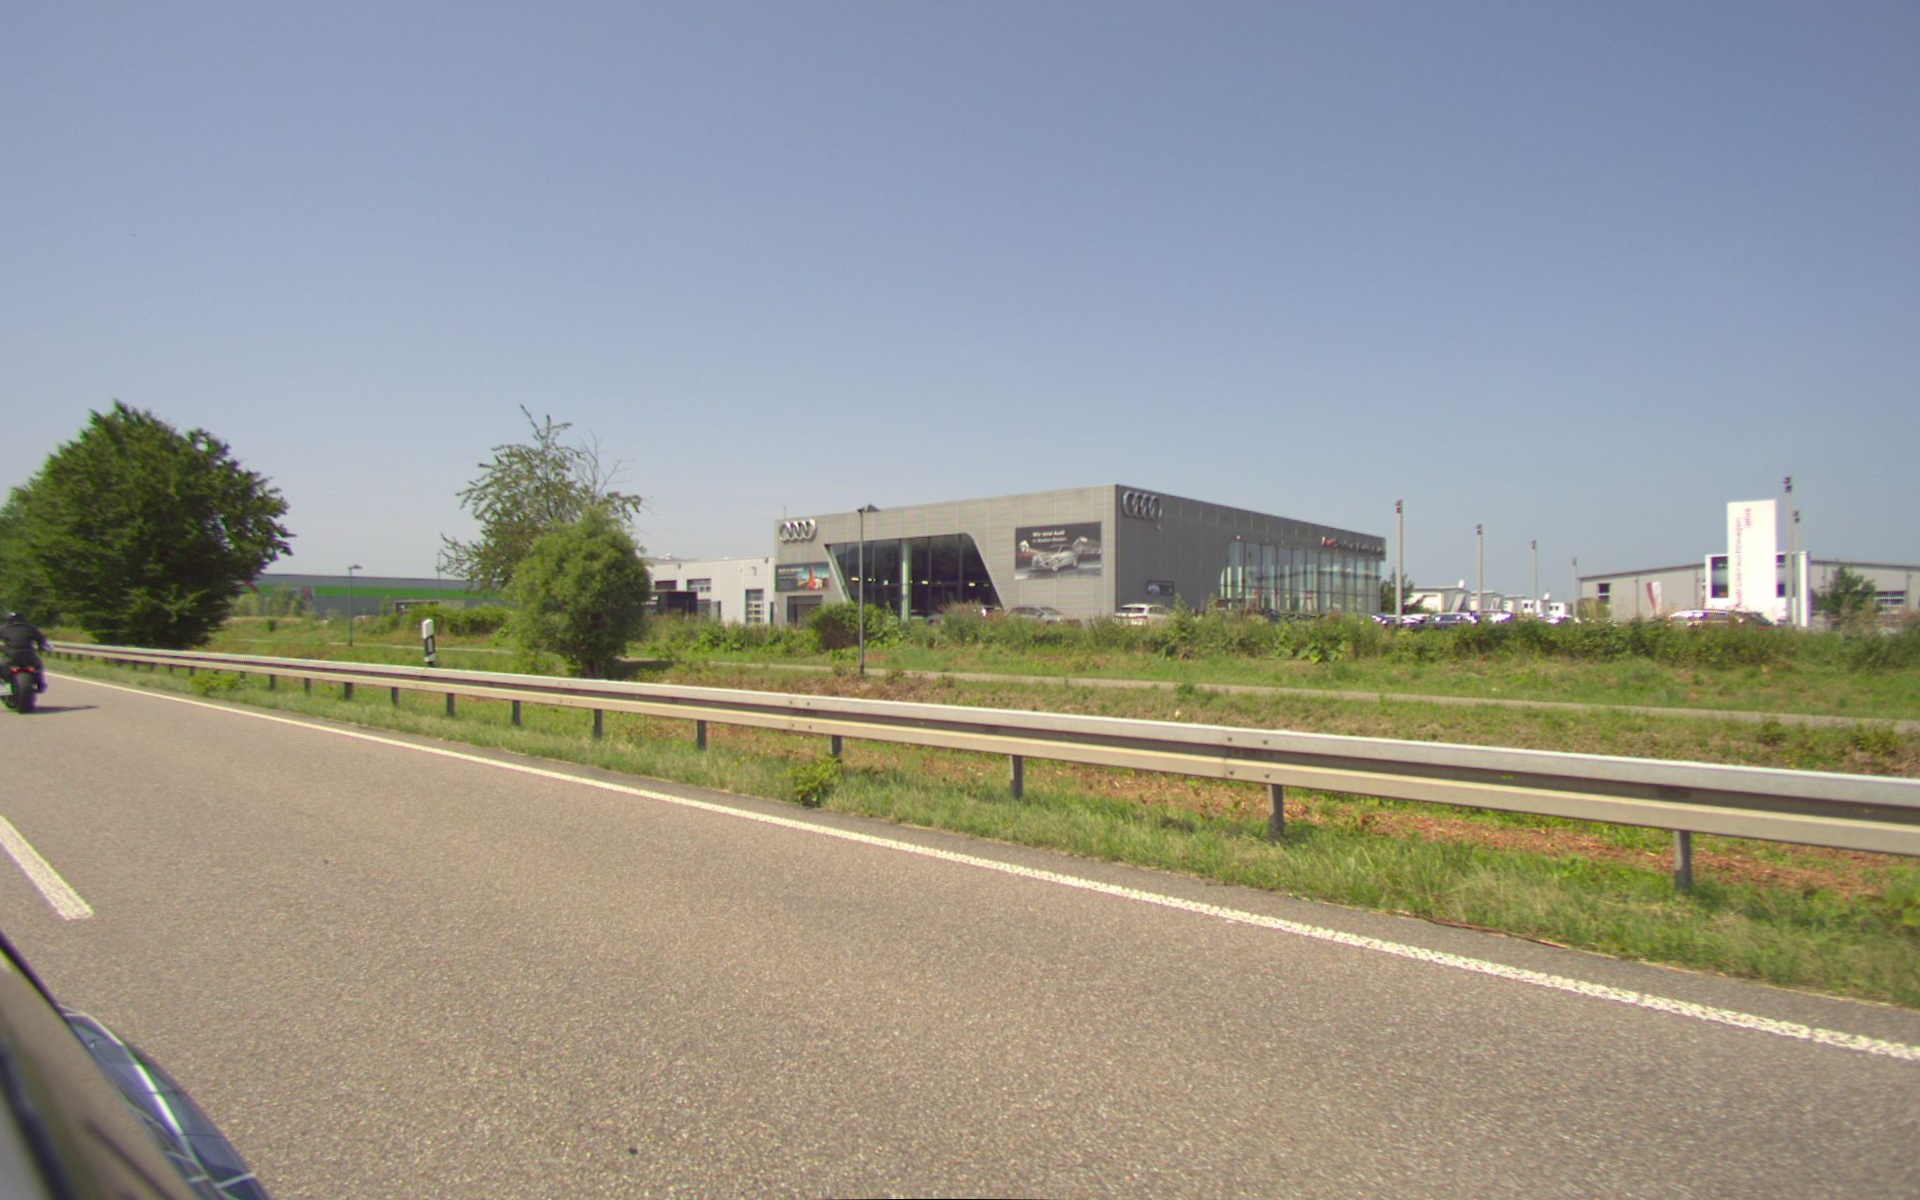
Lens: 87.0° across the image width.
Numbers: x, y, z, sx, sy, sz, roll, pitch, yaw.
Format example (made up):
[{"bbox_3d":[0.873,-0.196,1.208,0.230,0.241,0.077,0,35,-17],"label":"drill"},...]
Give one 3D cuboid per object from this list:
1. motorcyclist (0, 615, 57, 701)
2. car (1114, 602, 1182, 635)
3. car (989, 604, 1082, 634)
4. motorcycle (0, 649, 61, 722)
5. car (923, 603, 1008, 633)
[{"bbox_3d":[-15.140,0.919,16.144,0.935,1.319,0.983,-1,0,41],"label":"motorcyclist"},{"bbox_3d":[8.927,0.922,47.796,1.620,1.448,4.190,-1,-3,34],"label":"car"},{"bbox_3d":[3.825,0.996,51.794,4.663,1.448,1.729,-1,-3,42],"label":"car"},{"bbox_3d":[-15.221,1.341,16.232,2.267,1.035,0.918,-1,0,41],"label":"motorcycle"},{"bbox_3d":[0.267,1.020,55.407,4.662,1.549,1.729,-1,-3,41],"label":"car"}]
